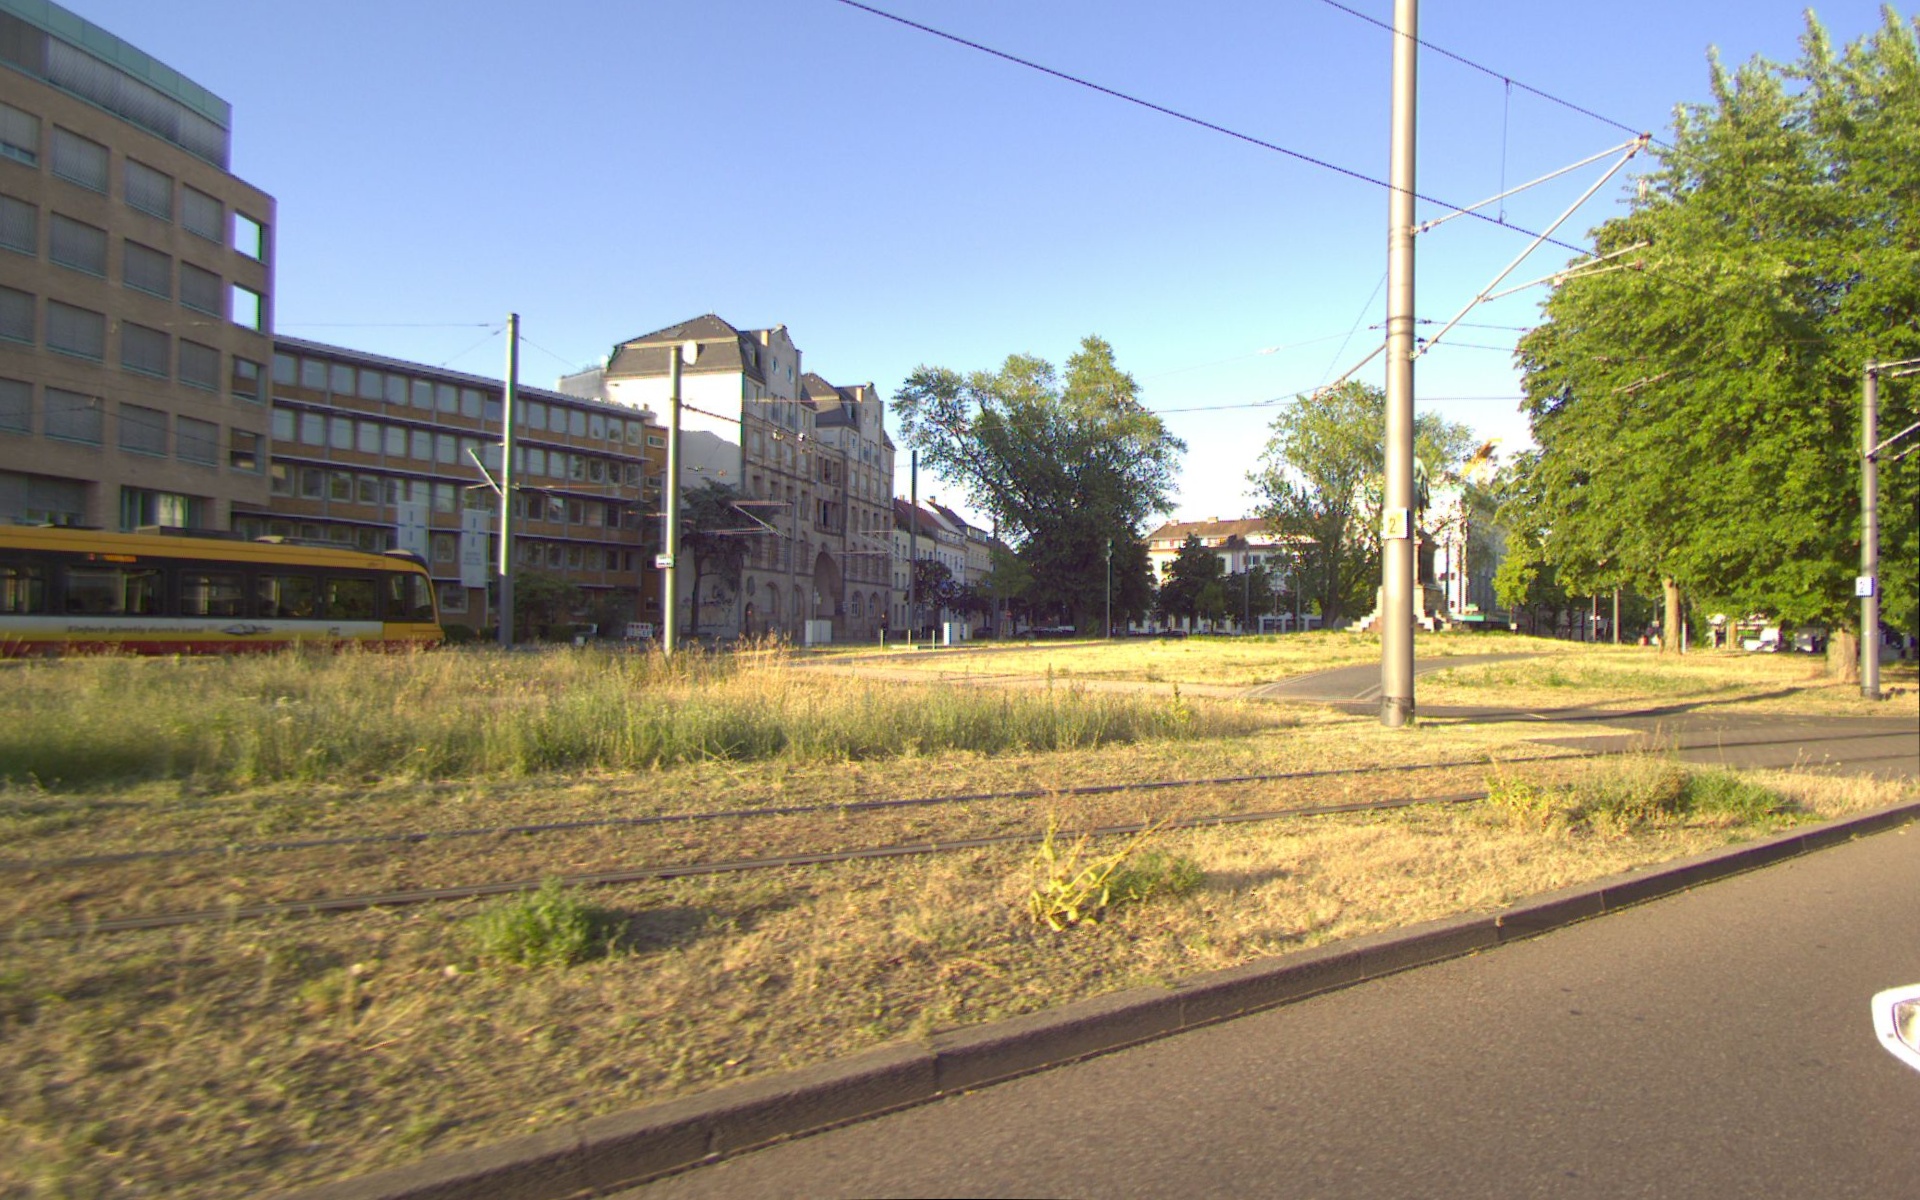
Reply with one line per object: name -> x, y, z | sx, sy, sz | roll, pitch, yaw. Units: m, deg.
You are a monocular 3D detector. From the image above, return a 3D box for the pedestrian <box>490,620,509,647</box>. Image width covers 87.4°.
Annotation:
pedestrian -> -23.160, 1.663, 50.535 | 0.559, 1.342, 0.680 | 1, 0, 41

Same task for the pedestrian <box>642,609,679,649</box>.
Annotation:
pedestrian -> -16.518, 1.585, 55.346 | 1.044, 2.122, 1.625 | 1, 0, 42

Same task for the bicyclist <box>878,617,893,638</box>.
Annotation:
bicyclist -> -6.310, 2.323, 84.915 | 0.934, 1.713, 0.898 | 1, 0, 17

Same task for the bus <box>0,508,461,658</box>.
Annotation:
bus -> -21.200, -0.330, 27.160 | 3.699, 3.407, 13.668 | 1, -1, 35

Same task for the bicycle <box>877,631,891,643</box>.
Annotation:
bicycle -> -6.385, 3.116, 84.726 | 0.463, 1.024, 2.202 | 1, 0, 16

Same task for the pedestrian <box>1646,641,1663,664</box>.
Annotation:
pedestrian -> 58.371, 4.413, 84.412 | 0.983, 1.865, 0.858 | 0, 1, -27
